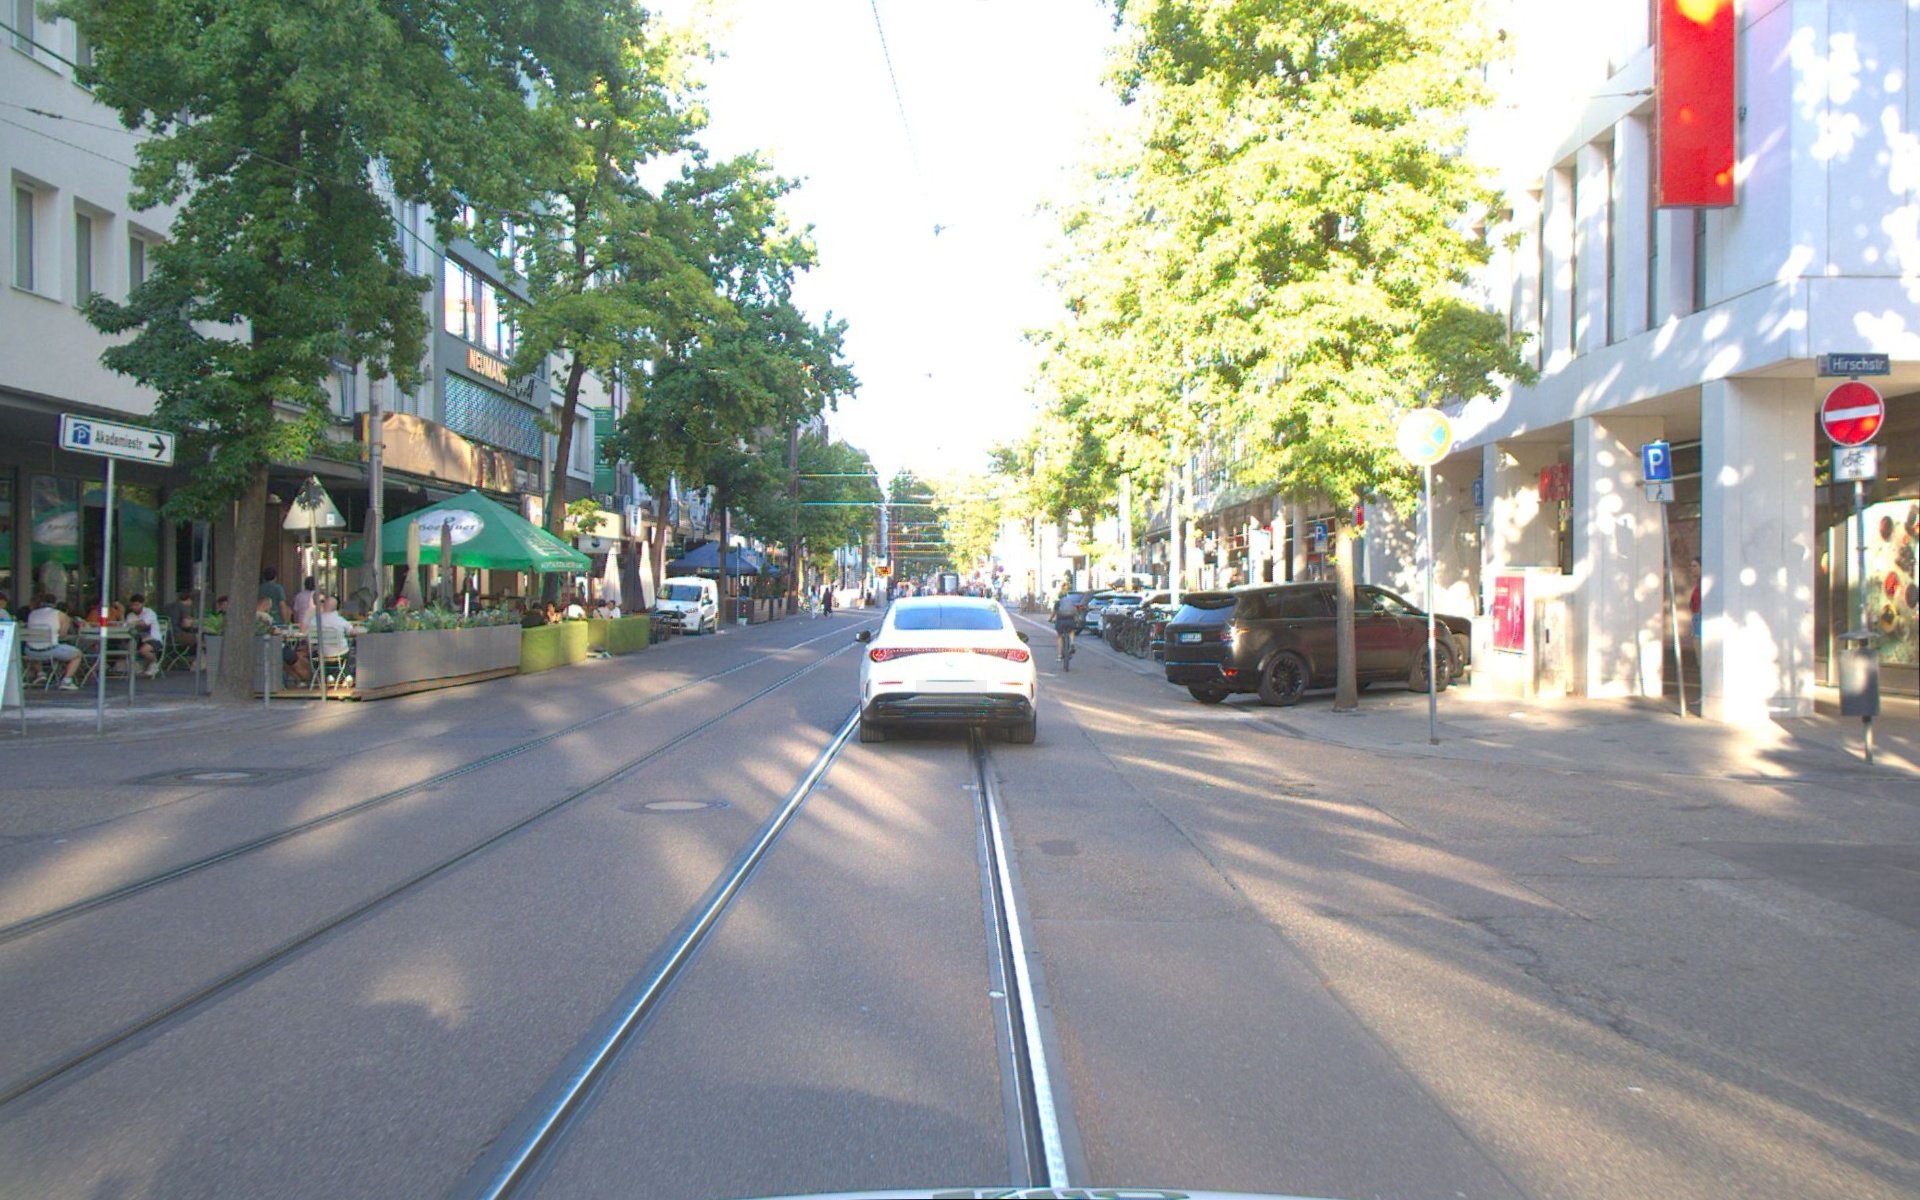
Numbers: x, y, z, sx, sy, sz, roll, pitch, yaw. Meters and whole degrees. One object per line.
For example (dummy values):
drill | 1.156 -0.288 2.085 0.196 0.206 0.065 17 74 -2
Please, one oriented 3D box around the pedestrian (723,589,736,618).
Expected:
pedestrian | -9.797 0.140 70.372 0.484 1.249 0.535 1 0 -1

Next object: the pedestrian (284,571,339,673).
pedestrian | -11.001 0.365 28.066 0.606 1.699 0.697 2 0 -1

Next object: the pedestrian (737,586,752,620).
pedestrian | -8.981 0.130 69.016 0.538 1.380 0.582 1 0 -1

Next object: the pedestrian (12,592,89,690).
pedestrian | -12.466 0.548 22.687 0.614 1.304 0.727 2 0 0

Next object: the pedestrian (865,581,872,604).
pedestrian | -7.963 -0.671 144.513 0.527 1.962 0.573 0 0 3

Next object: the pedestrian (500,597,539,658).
pedestrian | -9.493 0.579 35.653 0.606 1.266 0.697 3 0 -1

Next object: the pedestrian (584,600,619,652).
pedestrian | -9.074 0.645 41.884 0.643 1.266 0.872 3 0 -1

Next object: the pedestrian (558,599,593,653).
pedestrian | -9.732 0.656 41.843 0.643 1.315 0.798 3 0 -1

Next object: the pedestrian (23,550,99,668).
pedestrian | -14.250 0.138 26.226 0.670 1.823 0.760 2 0 15

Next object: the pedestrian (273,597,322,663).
pedestrian | -12.372 0.551 30.893 0.589 1.194 0.687 2 0 0

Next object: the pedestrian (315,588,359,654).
pedestrian | -12.935 0.432 34.360 0.606 1.332 0.697 3 0 -1

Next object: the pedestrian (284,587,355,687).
pedestrian | -9.350 0.530 24.167 0.675 1.410 0.807 2 0 0

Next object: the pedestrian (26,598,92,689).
pedestrian | -12.897 0.610 23.685 0.541 1.257 0.687 2 0 0

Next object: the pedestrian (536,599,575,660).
pedestrian | -8.703 0.634 35.620 0.606 1.266 0.697 3 0 -1

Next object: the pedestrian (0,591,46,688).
pedestrian | -13.114 0.529 22.759 0.631 1.291 0.738 2 0 0

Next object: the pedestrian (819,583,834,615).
pedestrian | -6.761 -0.037 83.899 0.609 1.577 0.852 2 0 0

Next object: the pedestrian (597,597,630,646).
pedestrian | -8.973 0.544 42.835 0.643 1.214 0.798 3 0 -1

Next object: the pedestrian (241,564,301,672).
pedestrian | -11.622 0.300 27.911 0.664 1.787 0.697 2 0 1

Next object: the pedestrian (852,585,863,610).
pedestrian | -7.481 -0.180 120.519 0.771 1.832 0.844 0 0 1

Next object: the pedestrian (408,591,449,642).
pedestrian | -12.803 0.396 39.866 0.686 1.188 0.788 3 0 -1

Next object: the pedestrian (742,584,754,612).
pedestrian | -11.925 -0.135 93.013 0.585 1.559 0.671 1 0 0

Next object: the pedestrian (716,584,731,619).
pedestrian | -9.859 0.066 69.059 0.538 1.454 0.582 1 0 -1

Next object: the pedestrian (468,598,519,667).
pedestrian | -8.952 0.612 31.753 0.693 1.281 0.772 2 0 2

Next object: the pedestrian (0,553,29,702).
pedestrian | -12.231 0.333 20.644 0.670 1.847 0.764 2 0 15

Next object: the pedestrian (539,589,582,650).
pedestrian | -9.430 0.452 39.060 0.739 1.367 0.872 3 0 -1

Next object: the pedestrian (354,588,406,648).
pedestrian | -12.802 0.393 36.500 0.761 1.258 0.945 3 0 -1

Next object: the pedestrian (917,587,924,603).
pedestrian | -4.553 -0.539 190.339 0.784 1.813 0.849 2 0 -1

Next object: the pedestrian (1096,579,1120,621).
pedestrian | 6.200 0.013 69.324 0.667 1.714 0.694 -2 0 33

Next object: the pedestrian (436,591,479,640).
pedestrian | -12.854 0.387 42.336 0.737 1.209 1.065 3 0 -1

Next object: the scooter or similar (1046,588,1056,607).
scooter or similar | 6.316 -0.183 115.047 0.482 1.299 0.658 -2 0 -11

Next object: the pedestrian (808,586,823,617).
pedestrian | -7.234 0.082 82.996 0.609 1.535 0.833 2 0 0

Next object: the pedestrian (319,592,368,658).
pedestrian | -12.242 0.489 32.856 0.656 1.264 0.798 2 0 -1

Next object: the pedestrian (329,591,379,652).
pedestrian | -12.907 0.447 35.229 0.721 1.253 0.788 3 0 -1

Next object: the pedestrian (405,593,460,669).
pedestrian | -9.727 0.559 30.521 0.693 1.371 0.781 2 0 2

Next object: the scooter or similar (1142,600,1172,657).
scooter or similar | 4.693 0.671 39.442 0.441 1.298 1.306 -4 0 -1

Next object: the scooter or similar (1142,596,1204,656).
scooter or similar | 4.963 0.609 38.488 1.290 1.298 0.558 -4 0 -32

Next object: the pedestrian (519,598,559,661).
pedestrian | -8.832 0.614 34.704 0.606 1.266 0.697 3 0 -1

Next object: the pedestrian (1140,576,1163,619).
pedestrian | 8.025 -0.096 69.251 0.677 1.761 0.629 -2 0 42

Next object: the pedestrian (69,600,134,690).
pedestrian | -12.342 0.639 23.793 0.541 1.257 0.687 2 0 0

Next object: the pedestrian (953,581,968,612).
pedestrian | 0.049 -0.200 100.078 0.824 1.832 0.790 2 0 1
